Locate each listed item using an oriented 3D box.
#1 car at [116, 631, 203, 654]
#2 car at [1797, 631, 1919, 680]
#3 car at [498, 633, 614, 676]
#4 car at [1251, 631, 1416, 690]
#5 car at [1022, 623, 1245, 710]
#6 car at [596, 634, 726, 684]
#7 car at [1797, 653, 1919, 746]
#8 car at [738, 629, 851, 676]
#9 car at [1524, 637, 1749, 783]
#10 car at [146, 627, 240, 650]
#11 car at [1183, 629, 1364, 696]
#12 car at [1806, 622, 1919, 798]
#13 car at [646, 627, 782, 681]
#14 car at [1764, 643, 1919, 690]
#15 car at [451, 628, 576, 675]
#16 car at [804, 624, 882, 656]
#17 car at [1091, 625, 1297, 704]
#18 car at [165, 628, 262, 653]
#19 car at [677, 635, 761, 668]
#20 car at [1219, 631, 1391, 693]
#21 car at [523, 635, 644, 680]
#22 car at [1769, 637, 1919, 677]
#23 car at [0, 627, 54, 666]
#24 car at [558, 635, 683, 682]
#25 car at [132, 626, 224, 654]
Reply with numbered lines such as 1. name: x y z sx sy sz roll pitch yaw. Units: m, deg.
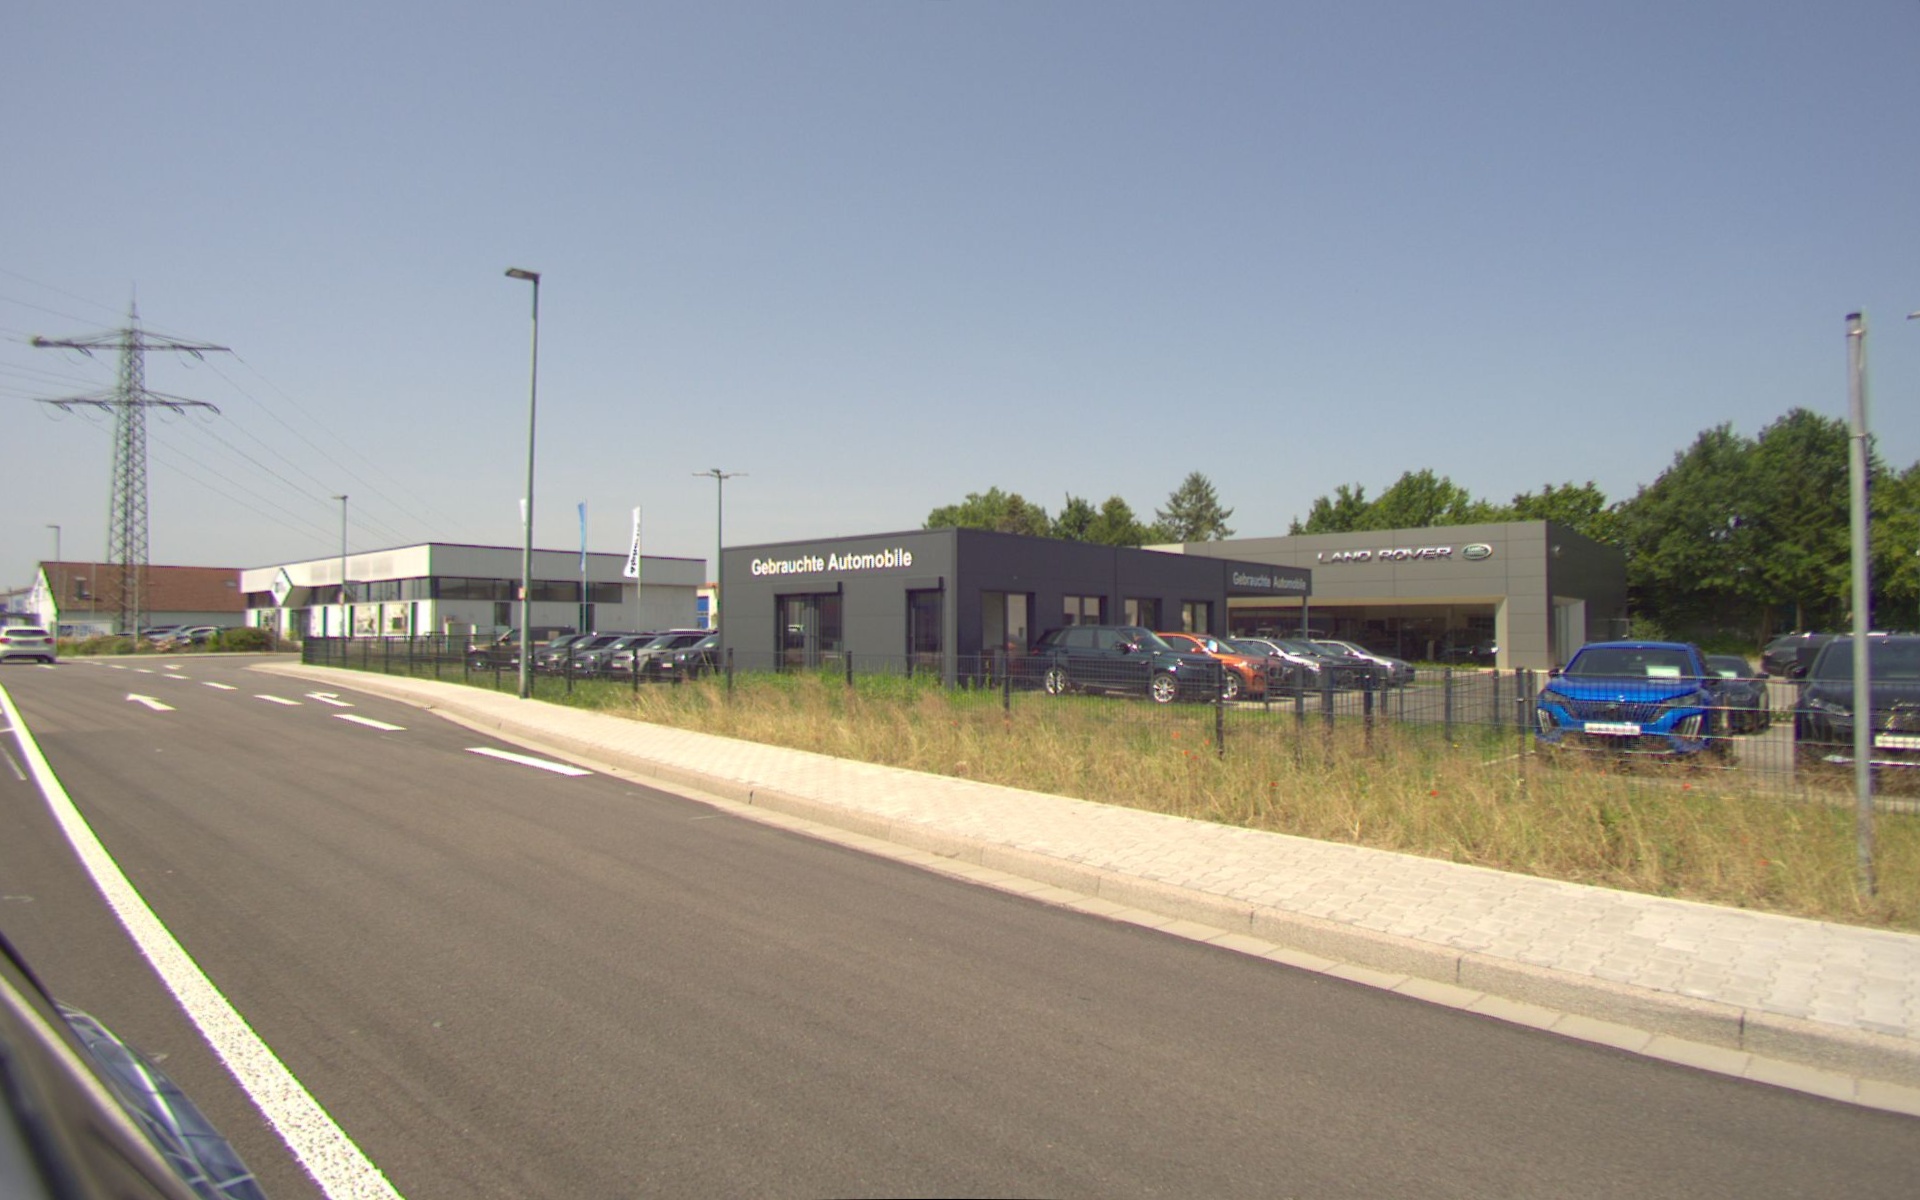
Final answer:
1. car: -51.438 2.732 65.052 1.995 1.425 3.954 -2 -3 34
2. car: 38.903 2.379 43.519 4.338 2.053 1.606 -2 -4 38
3. car: -16.337 2.199 41.073 1.885 1.644 3.947 -3 -4 39
4. car: 12.273 1.948 33.412 4.748 1.752 1.934 0 -2 40
5. car: 3.928 1.455 23.373 4.748 1.752 1.934 0 -2 40
6. car: -10.432 2.048 35.531 1.967 1.644 3.945 -3 -4 41
7. car: 16.346 1.705 18.263 1.813 1.492 3.947 -3 -4 39
8. car: -6.058 1.910 36.842 4.159 1.644 1.798 -3 -4 41
9. car: 8.491 1.235 12.555 1.909 1.492 3.947 -3 -4 39
10. car: -46.417 2.366 61.307 1.831 1.325 4.184 -2 -4 37
11. car: 9.169 1.772 29.826 4.748 1.752 1.934 0 -2 40
12. car: 10.378 1.099 10.918 1.813 1.648 3.947 -3 -4 39
13. car: -8.038 1.767 33.394 1.821 1.644 4.107 -3 -4 39
14. car: 29.317 2.166 33.357 4.338 1.492 1.606 -2 -4 38
15. car: -19.100 2.173 43.509 4.602 1.879 2.071 0 -1 -12
16. car: -6.329 2.196 54.974 1.975 1.677 3.947 -3 -4 39
17. car: 5.854 1.561 25.625 4.748 1.752 1.934 0 -2 40
18. car: -43.215 2.351 58.676 1.831 1.405 4.184 -2 -4 37
19. car: -12.738 2.727 53.603 1.975 1.677 3.947 -3 -4 39
20. car: 10.742 1.886 31.700 4.748 1.752 1.934 0 -2 40
21. car: -14.494 2.191 39.107 1.975 1.644 3.947 -3 -4 39
22. car: 34.533 2.237 39.645 4.338 1.492 1.606 -2 -4 38
23. car: -36.473 1.784 39.128 4.050 1.426 1.761 -1 -3 43
24. car: -12.464 2.141 37.306 1.975 1.644 3.947 -3 -4 39
25. car: -48.830 2.532 63.278 1.831 1.660 4.184 -2 -4 37
